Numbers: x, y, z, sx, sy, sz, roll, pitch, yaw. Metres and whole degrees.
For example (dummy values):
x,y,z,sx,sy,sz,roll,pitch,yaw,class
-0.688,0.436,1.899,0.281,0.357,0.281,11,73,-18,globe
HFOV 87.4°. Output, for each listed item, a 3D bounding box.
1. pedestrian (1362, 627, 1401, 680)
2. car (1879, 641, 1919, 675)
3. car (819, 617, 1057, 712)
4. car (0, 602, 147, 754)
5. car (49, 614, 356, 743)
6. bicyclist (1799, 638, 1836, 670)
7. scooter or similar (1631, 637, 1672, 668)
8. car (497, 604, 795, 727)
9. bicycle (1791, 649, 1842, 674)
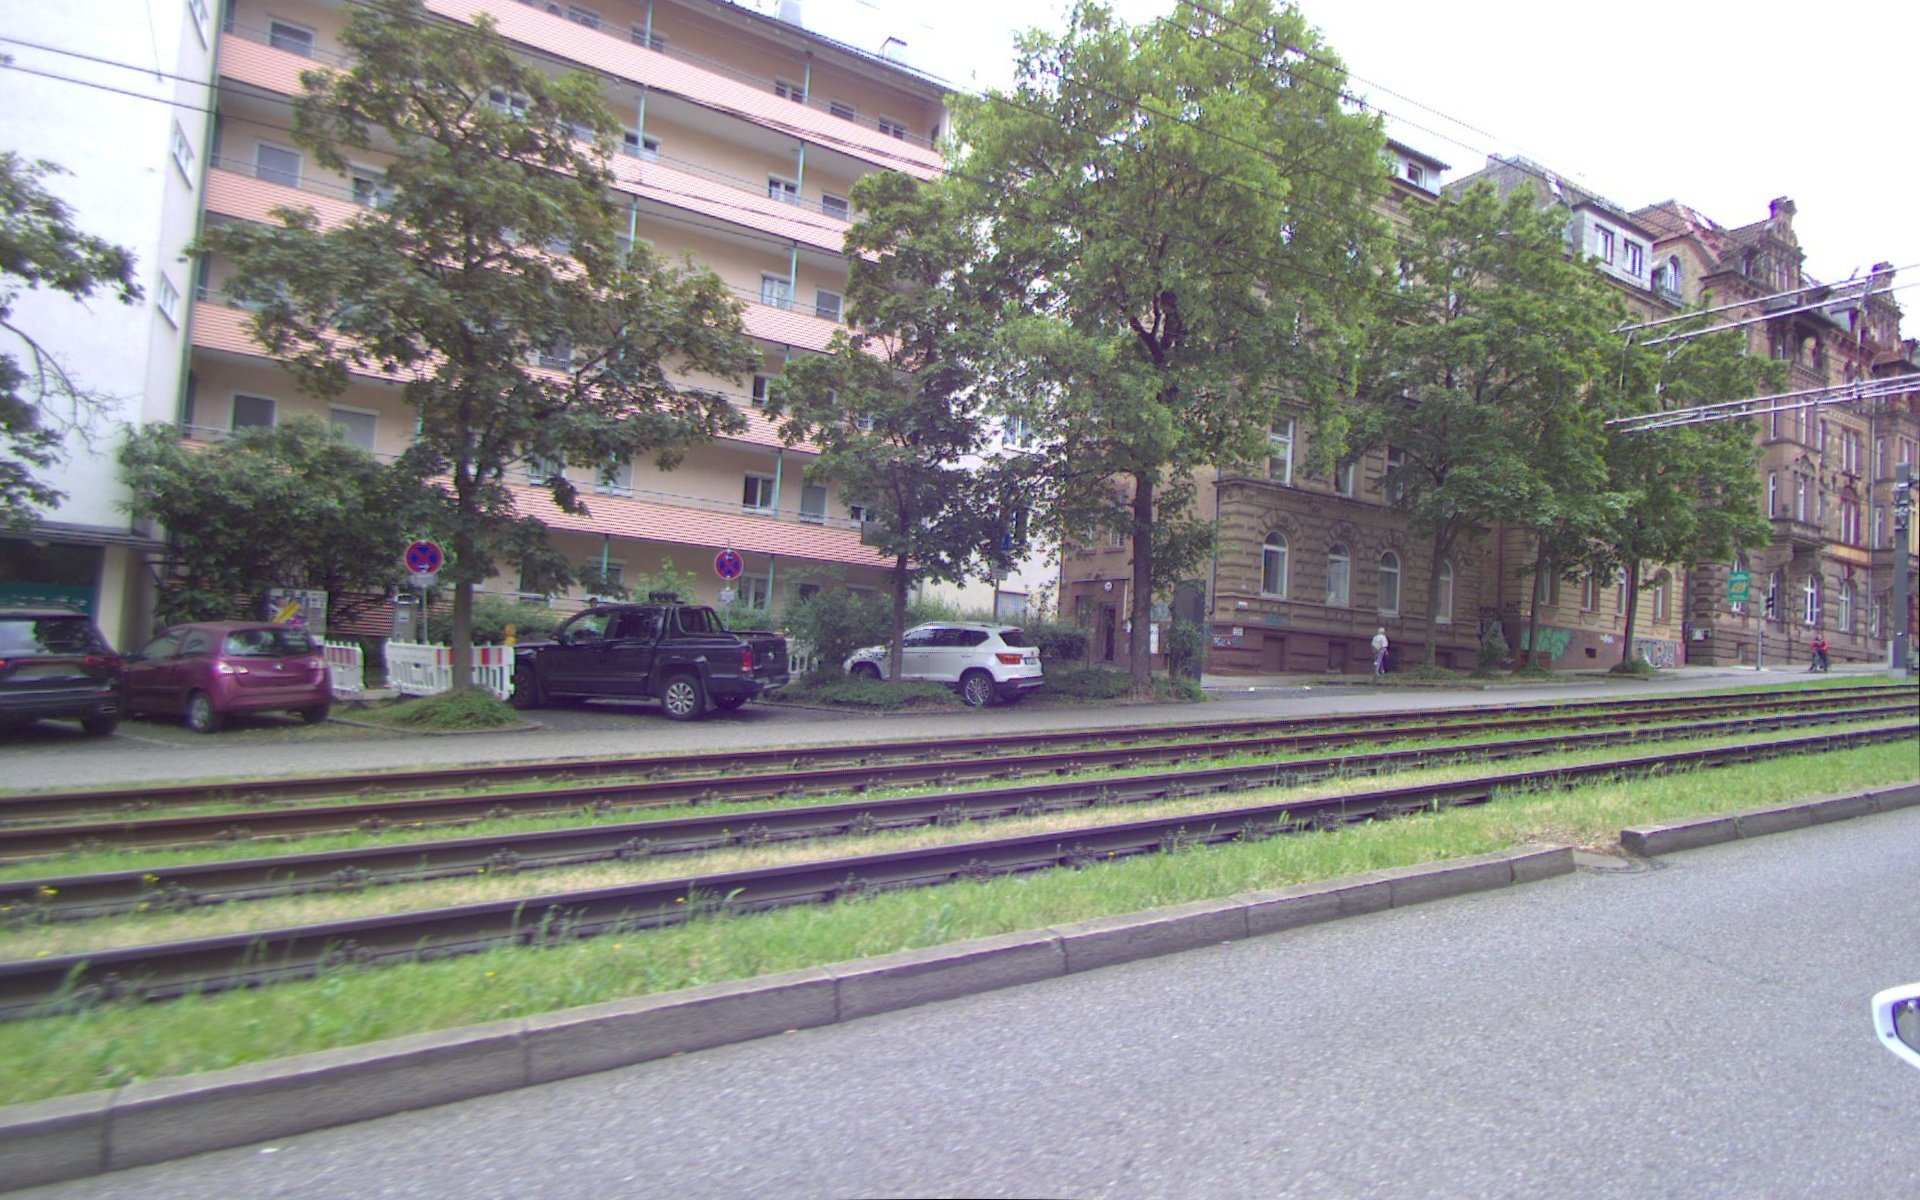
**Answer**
x,y,z,sx,sy,sz,roll,pitch,yaw,class
13.826,1.744,32.942,0.838,1.706,0.827,1,-2,-31,pedestrian
42.354,2.520,43.985,3.951,1.421,1.985,2,-2,-29,car
-0.470,1.241,20.735,4.522,1.639,1.934,1,0,27,car
-12.934,0.903,13.154,4.523,1.704,1.933,1,0,28,car
-11.373,1.057,15.037,4.523,1.569,1.933,1,0,28,car
38.773,2.435,45.428,1.174,1.444,0.934,1,-1,-30,bicyclist
29.203,2.186,42.388,2.191,1.271,0.626,1,-1,-32,scooter or similar
-5.346,1.051,17.297,4.514,1.821,1.937,1,0,14,car
38.728,2.766,45.412,2.670,1.114,0.934,1,-2,-30,bicycle
